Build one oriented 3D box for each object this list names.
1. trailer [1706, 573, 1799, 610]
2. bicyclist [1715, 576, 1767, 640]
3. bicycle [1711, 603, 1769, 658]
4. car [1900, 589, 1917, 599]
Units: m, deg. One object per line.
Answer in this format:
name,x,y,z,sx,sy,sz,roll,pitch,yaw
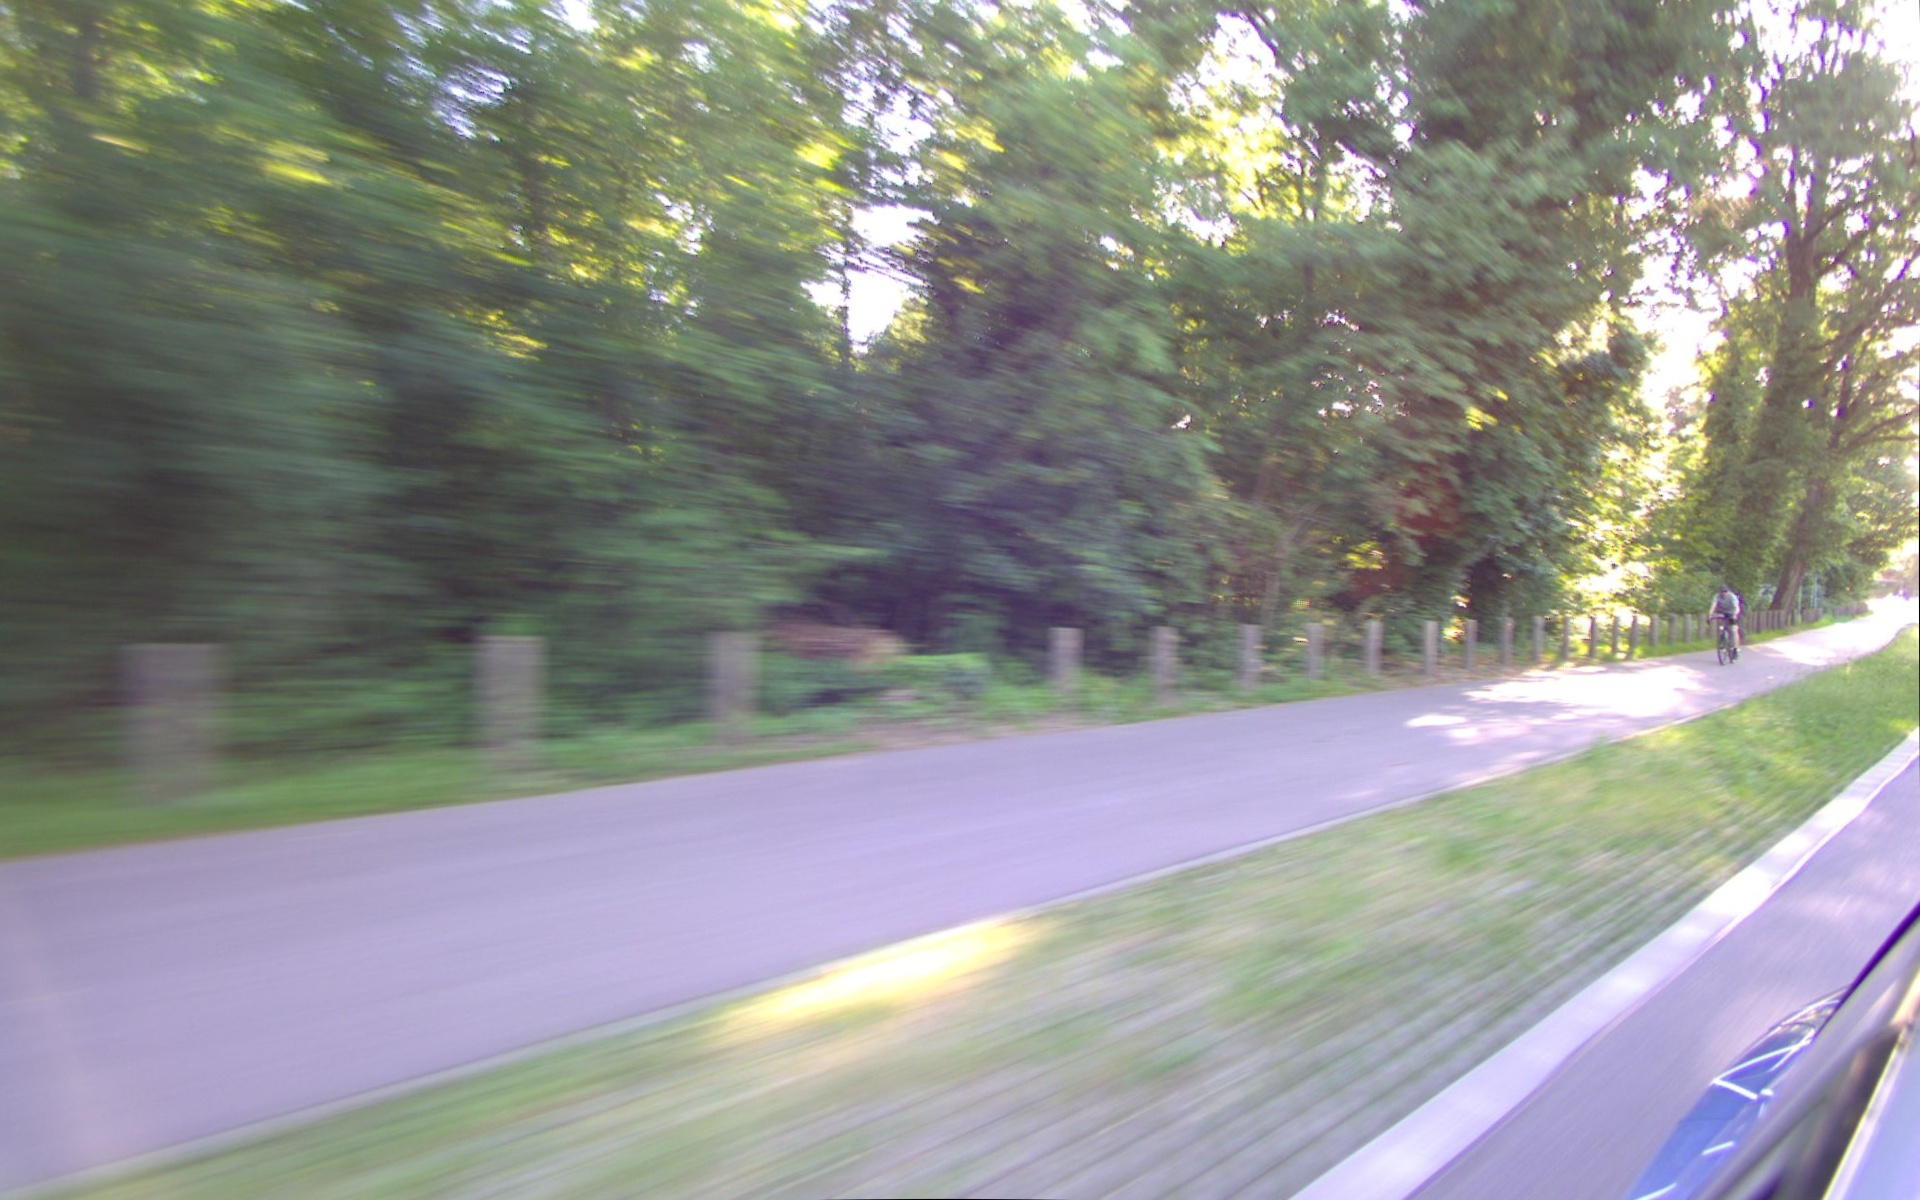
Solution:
trailer,47.190,-0.559,60.363,1.960,2.046,4.232,1,2,-5
bicyclist,16.445,0.150,21.311,0.712,1.305,1.086,2,1,45
bicycle,16.438,0.626,21.313,0.712,1.069,2.020,2,2,45
car,166.969,-1.086,178.176,1.819,1.704,3.944,2,2,39
